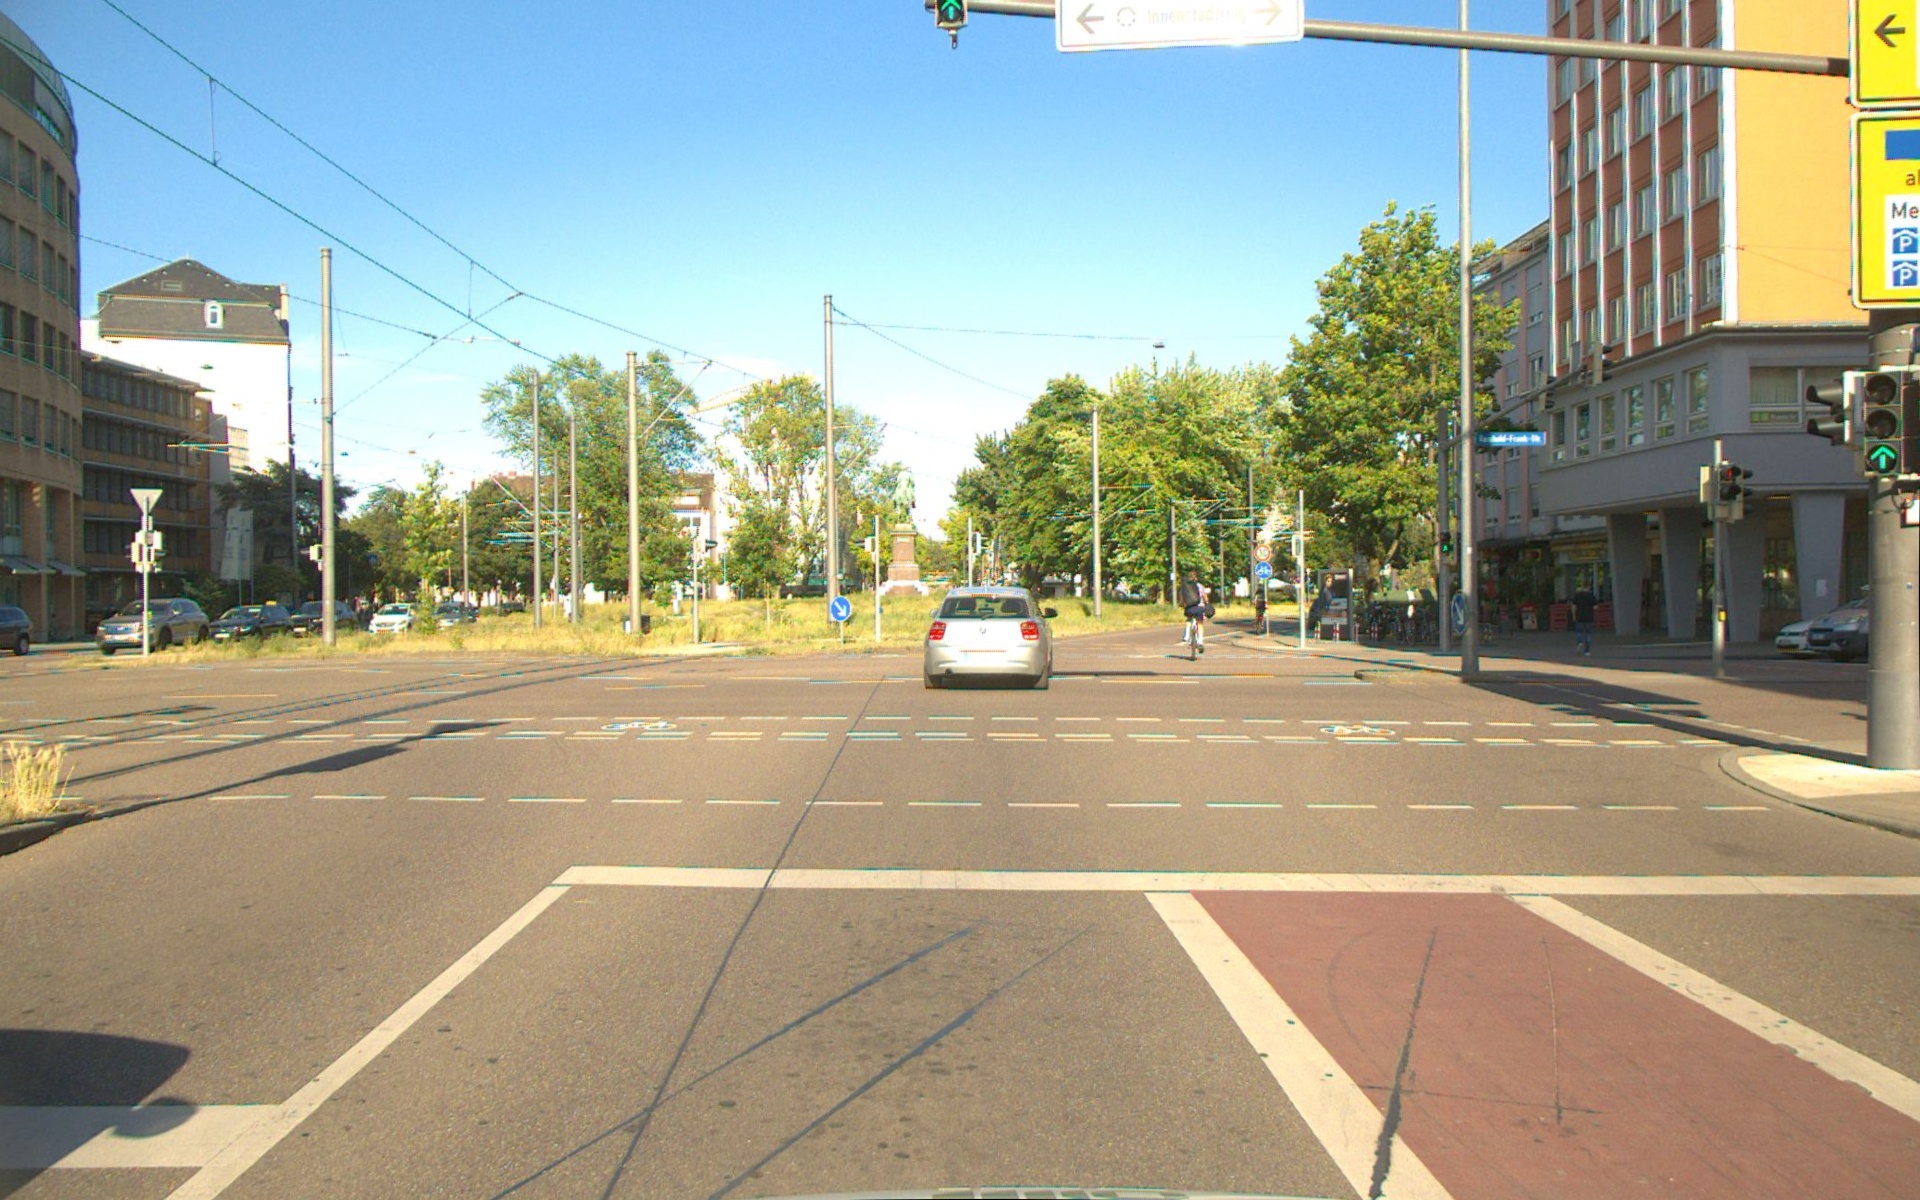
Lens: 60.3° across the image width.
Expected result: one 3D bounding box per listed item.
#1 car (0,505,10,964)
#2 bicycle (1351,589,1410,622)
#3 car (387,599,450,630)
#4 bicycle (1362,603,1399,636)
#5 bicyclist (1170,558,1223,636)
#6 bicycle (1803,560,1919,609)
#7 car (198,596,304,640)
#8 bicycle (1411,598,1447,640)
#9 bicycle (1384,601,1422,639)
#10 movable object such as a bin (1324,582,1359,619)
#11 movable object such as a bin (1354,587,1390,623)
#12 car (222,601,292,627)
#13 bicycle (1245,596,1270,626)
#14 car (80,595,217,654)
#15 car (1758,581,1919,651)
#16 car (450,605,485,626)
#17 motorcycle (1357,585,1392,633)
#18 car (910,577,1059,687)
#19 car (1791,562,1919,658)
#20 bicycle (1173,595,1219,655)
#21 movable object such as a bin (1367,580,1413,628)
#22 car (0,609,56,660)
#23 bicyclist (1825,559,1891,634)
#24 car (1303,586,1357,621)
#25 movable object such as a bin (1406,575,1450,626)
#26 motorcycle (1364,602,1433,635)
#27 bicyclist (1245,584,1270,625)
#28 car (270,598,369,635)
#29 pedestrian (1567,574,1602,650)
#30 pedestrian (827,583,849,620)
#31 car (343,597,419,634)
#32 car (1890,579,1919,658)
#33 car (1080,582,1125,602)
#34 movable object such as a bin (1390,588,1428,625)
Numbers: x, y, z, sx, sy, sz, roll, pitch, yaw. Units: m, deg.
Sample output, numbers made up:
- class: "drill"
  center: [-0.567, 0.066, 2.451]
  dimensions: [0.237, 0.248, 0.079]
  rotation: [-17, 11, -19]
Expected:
- class: "car"
  center: [-3.209, 0.534, 1.711]
  dimensions: [1.953, 1.564, 4.355]
  rotation: [1, 0, -1]
- class: "bicycle"
  center: [16.756, 0.221, 65.900]
  dimensions: [0.892, 1.272, 2.133]
  rotation: [-1, 0, -44]
- class: "car"
  center: [-26.627, 0.719, 81.450]
  dimensions: [1.955, 1.452, 4.505]
  rotation: [1, 0, -5]
- class: "bicycle"
  center: [12.896, 0.588, 50.741]
  dimensions: [0.466, 1.002, 2.118]
  rotation: [1, 0, -4]
- class: "bicyclist"
  center: [4.708, -0.052, 32.953]
  dimensions: [1.016, 1.510, 0.989]
  rotation: [1, 0, 8]
- class: "bicycle"
  center: [19.652, -0.340, 36.086]
  dimensions: [2.098, 1.018, 0.860]
  rotation: [1, 0, -3]
- class: "car"
  center: [-25.869, 0.645, 60.522]
  dimensions: [1.953, 1.543, 4.660]
  rotation: [1, 0, -2]
- class: "bicycle"
  center: [14.535, 0.579, 51.258]
  dimensions: [0.521, 1.266, 1.847]
  rotation: [1, 0, -2]
- class: "bicycle"
  center: [13.589, 0.600, 50.752]
  dimensions: [0.466, 1.136, 2.118]
  rotation: [1, 0, -4]
- class: "movable object such as a bin"
  center: [14.784, 0.022, 64.047]
  dimensions: [1.253, 1.416, 0.922]
  rotation: [1, 0, 17]
- class: "movable object such as a bin"
  center: [15.878, 0.195, 63.779]
  dimensions: [1.148, 1.379, 0.927]
  rotation: [1, 0, 1]
- class: "car"
  center: [-44.993, 0.903, 105.891]
  dimensions: [3.946, 1.608, 1.980]
  rotation: [1, 0, -31]
- class: "bicycle"
  center: [12.195, 0.466, 67.876]
  dimensions: [0.802, 1.206, 1.965]
  rotation: [1, 0, 5]
- class: "car"
  center: [-25.934, 0.753, 53.080]
  dimensions: [2.057, 1.764, 5.084]
  rotation: [0, 0, -2]
- class: "car"
  center: [21.270, 0.400, 38.967]
  dimensions: [4.066, 1.529, 1.844]
  rotation: [1, -2, -3]
- class: "car"
  center: [-40.222, 1.298, 135.171]
  dimensions: [1.955, 1.540, 4.277]
  rotation: [0, -3, -5]
- class: "motorcycle"
  center: [13.989, 0.296, 55.891]
  dimensions: [0.785, 1.566, 2.547]
  rotation: [1, 0, 6]
- class: "car"
  center: [0.452, 0.440, 24.320]
  dimensions: [1.952, 1.448, 4.198]
  rotation: [1, 0, 4]
- class: "car"
  center: [19.762, 0.237, 33.876]
  dimensions: [4.494, 1.883, 1.946]
  rotation: [1, 0, -1]
- class: "bicycle"
  center: [4.708, 0.489, 32.973]
  dimensions: [0.866, 1.155, 2.230]
  rotation: [1, 0, 8]
- class: "movable object such as a bin"
  center: [15.150, 0.149, 58.263]
  dimensions: [1.352, 1.668, 1.008]
  rotation: [0, 0, -2]
- class: "car"
  center: [-33.768, 1.174, 57.292]
  dimensions: [2.075, 1.697, 5.210]
  rotation: [1, 0, -1]
- class: "bicyclist"
  center: [19.581, -0.073, 36.078]
  dimensions: [0.914, 1.587, 0.941]
  rotation: [1, 0, -3]
- class: "car"
  center: [16.761, 0.155, 74.805]
  dimensions: [1.729, 1.463, 4.584]
  rotation: [-1, 0, 21]
- class: "movable object such as a bin"
  center: [16.453, 0.022, 58.204]
  dimensions: [1.230, 1.739, 0.945]
  rotation: [-1, -1, -2]
- class: "motorcycle"
  center: [14.283, 0.596, 53.872]
  dimensions: [2.053, 1.039, 0.762]
  rotation: [1, 0, 0]
- class: "bicyclist"
  center: [12.208, 0.199, 67.954]
  dimensions: [0.919, 1.662, 0.936]
  rotation: [1, 0, 5]
- class: "car"
  center: [-26.404, 0.668, 68.381]
  dimensions: [1.952, 1.473, 5.021]
  rotation: [1, 0, 2]
- class: "pedestrian"
  center: [15.697, 0.302, 41.565]
  dimensions: [0.809, 1.877, 0.891]
  rotation: [1, -1, 21]
- class: "pedestrian"
  center: [-5.562, 0.076, 75.650]
  dimensions: [0.719, 1.700, 0.744]
  rotation: [0, 0, 24]
- class: "car"
  center: [-26.559, 0.698, 76.021]
  dimensions: [1.953, 1.624, 4.654]
  rotation: [1, 0, -2]
- class: "car"
  center: [19.635, 0.374, 30.555]
  dimensions: [3.907, 1.465, 1.848]
  rotation: [1, 0, -3]
- class: "car"
  center: [16.947, -0.965, 197.136]
  dimensions: [5.226, 2.354, 2.000]
  rotation: [1, 0, 0]
- class: "movable object such as a bin"
  center: [17.340, 0.245, 63.851]
  dimensions: [1.188, 1.415, 0.959]
  rotation: [1, 0, 1]
